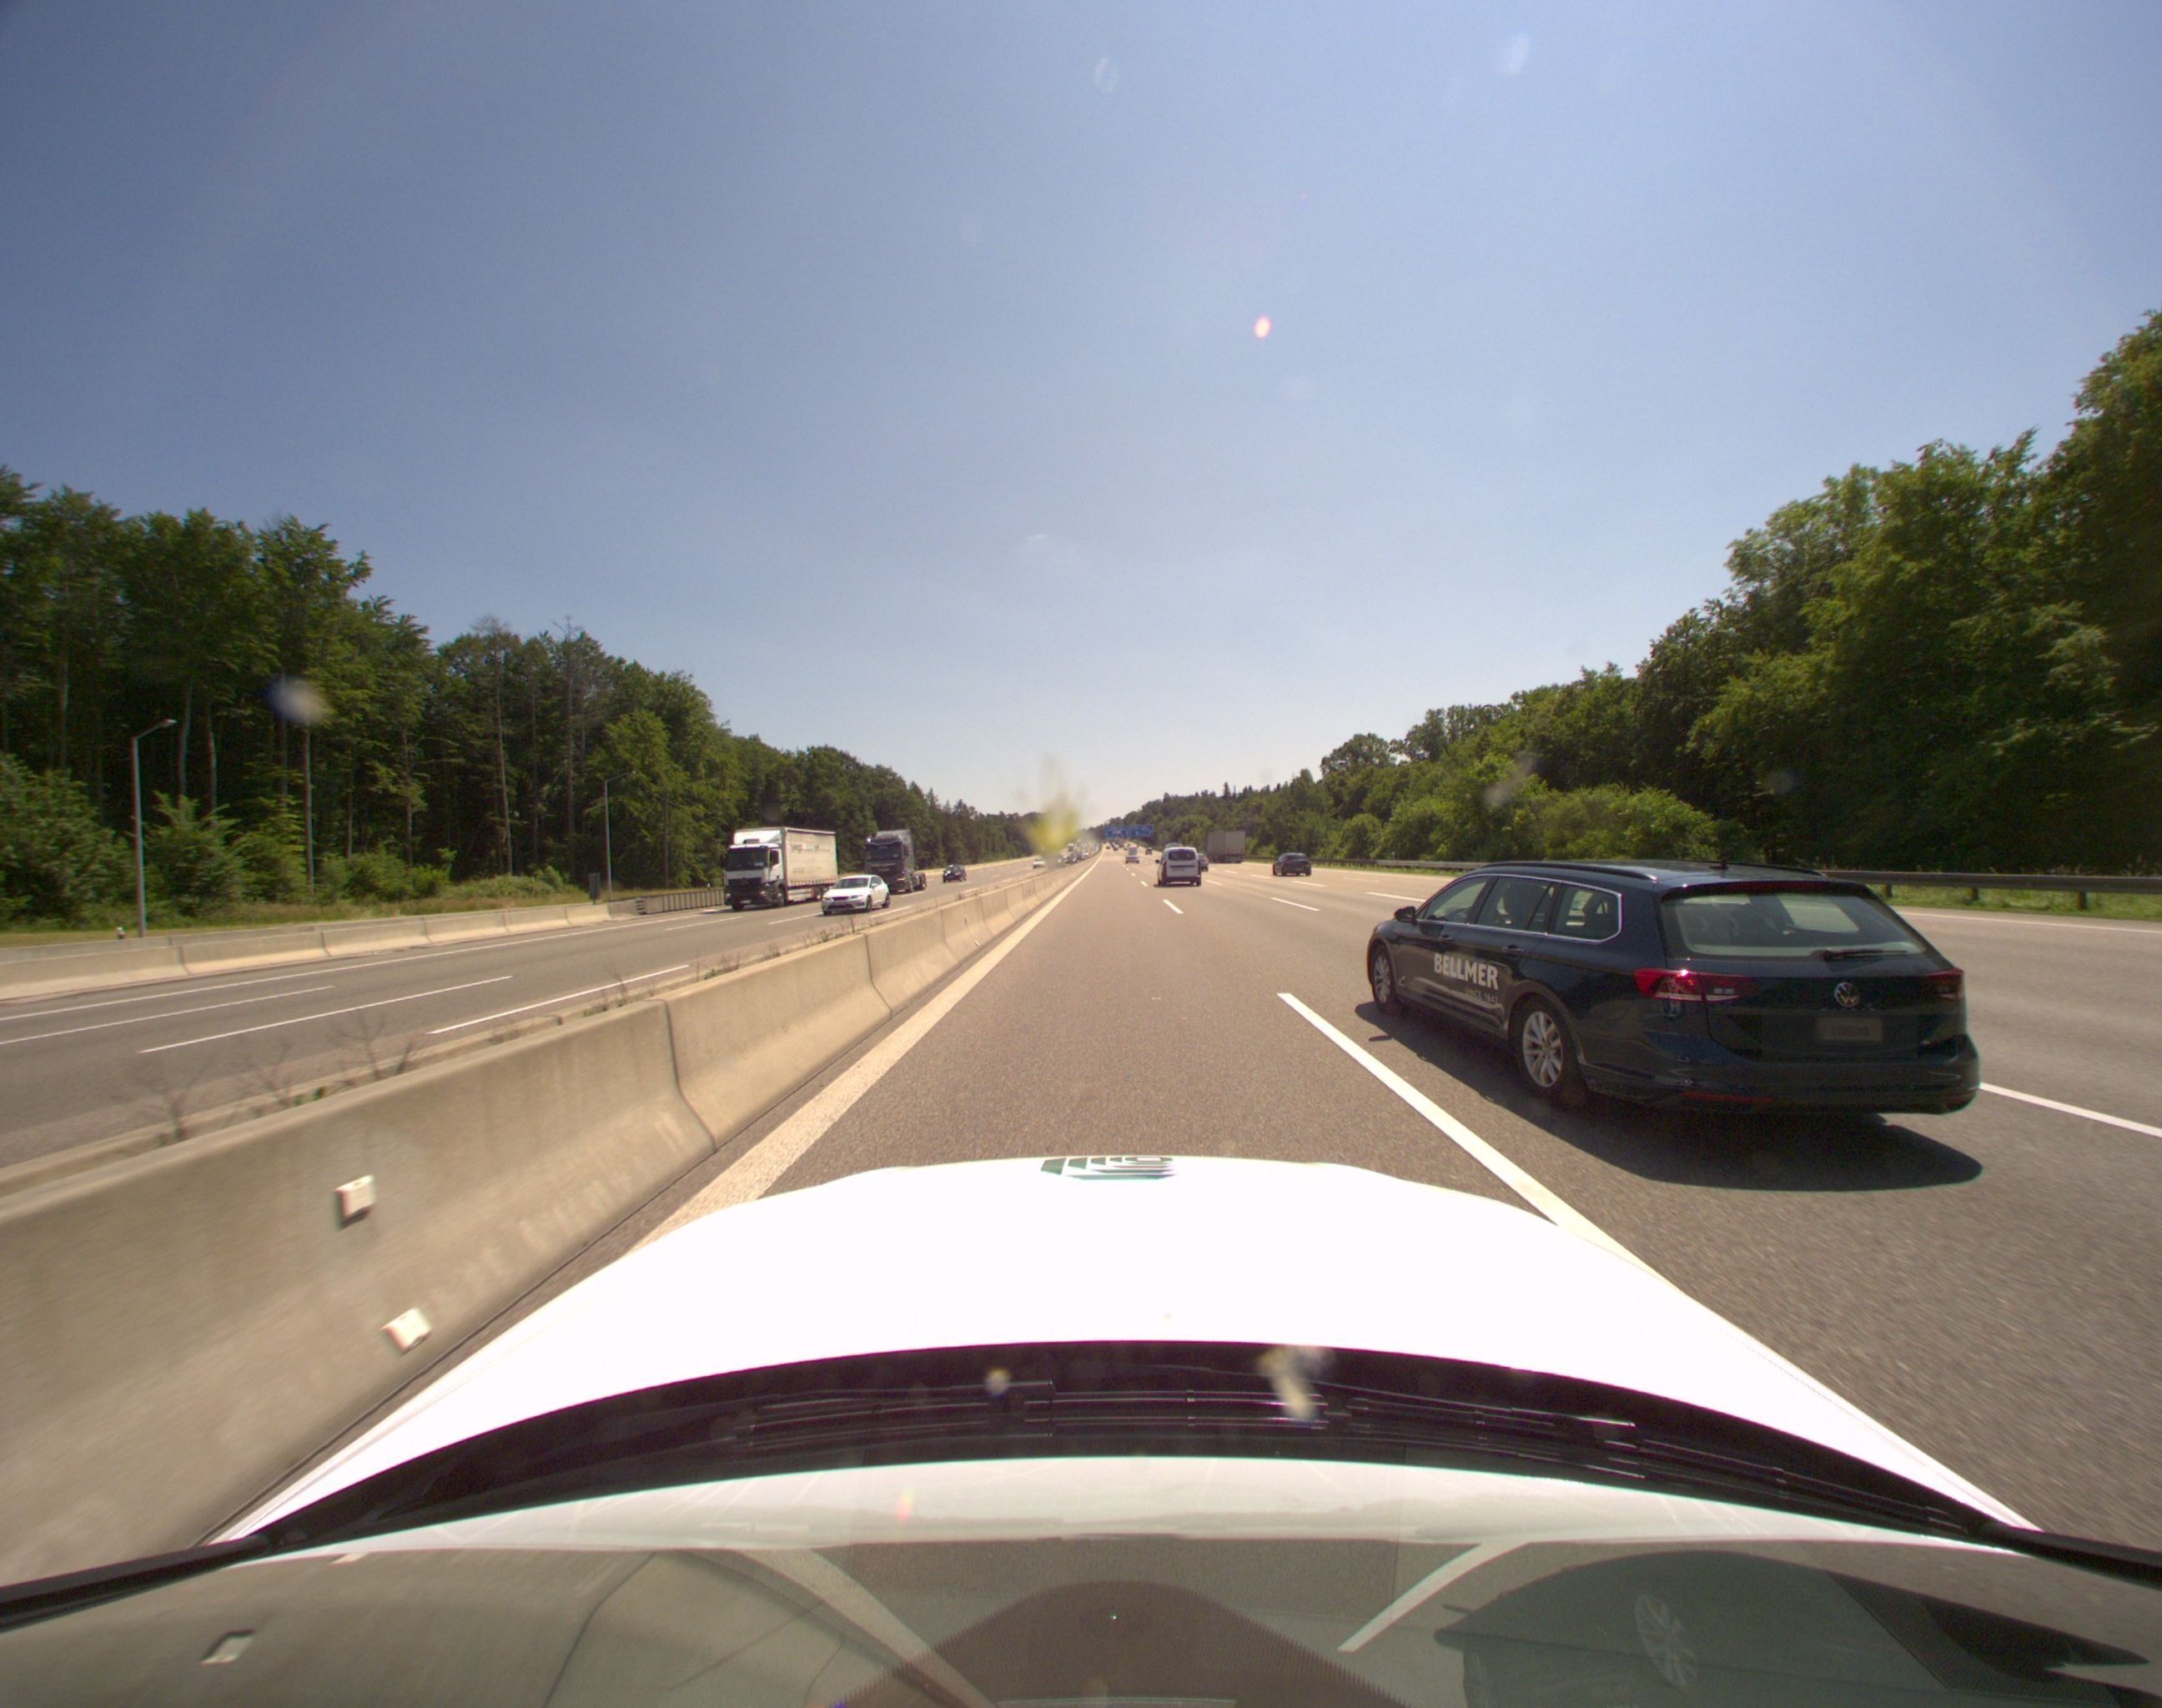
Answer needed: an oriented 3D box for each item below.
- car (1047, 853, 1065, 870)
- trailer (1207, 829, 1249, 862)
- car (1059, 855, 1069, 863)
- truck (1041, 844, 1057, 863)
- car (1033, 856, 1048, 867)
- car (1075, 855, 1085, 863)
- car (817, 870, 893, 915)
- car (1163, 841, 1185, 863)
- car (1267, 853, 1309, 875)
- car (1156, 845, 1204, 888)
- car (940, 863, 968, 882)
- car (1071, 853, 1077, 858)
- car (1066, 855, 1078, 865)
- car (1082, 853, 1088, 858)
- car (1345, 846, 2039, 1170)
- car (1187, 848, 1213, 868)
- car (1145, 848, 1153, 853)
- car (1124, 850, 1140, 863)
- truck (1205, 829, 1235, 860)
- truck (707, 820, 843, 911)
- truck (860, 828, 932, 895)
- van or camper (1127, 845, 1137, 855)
[{"bbox_3d":[-3.179,0.952,104.069,1.891,1.953,5.659,-3,0,2],"label":"car"},{"bbox_3d":[18.806,-1.109,105.131,3.275,3.930,13.895,-1,1,1],"label":"trailer"},{"bbox_3d":[-3.753,1.182,183.734,1.906,1.661,4.691,-3,0,2],"label":"car"},{"bbox_3d":[-7.273,-0.165,186.337,2.847,4.012,9.472,-3,0,2],"label":"truck"},{"bbox_3d":[-6.079,1.107,121.898,1.754,1.464,4.841,-3,0,2],"label":"car"},{"bbox_3d":[-0.257,1.115,176.479,1.906,1.464,4.365,-3,-1,2],"label":"car"},{"bbox_3d":[-8.862,1.468,32.343,1.717,1.506,4.460,-3,0,0],"label":"car"},{"bbox_3d":[11.329,-0.288,99.485,2.135,2.652,5.713,-2,1,2],"label":"car"},{"bbox_3d":[12.729,0.612,50.306,1.664,1.273,4.292,0,0,2],"label":"car"},{"bbox_3d":[4.663,0.562,38.931,1.852,1.825,4.614,-3,0,2],"label":"car"},{"bbox_3d":[-11.309,1.638,72.767,1.747,1.486,3.815,-4,0,1],"label":"car"},{"bbox_3d":[-2.040,0.417,232.135,1.696,1.427,4.614,-3,0,1],"label":"car"},{"bbox_3d":[-1.522,1.043,139.241,1.906,1.464,4.589,-3,-1,2],"label":"car"},{"bbox_3d":[1.127,0.474,237.015,1.818,1.394,4.464,-3,0,0],"label":"car"},{"bbox_3d":[3.574,0.697,6.191,1.722,1.447,4.964,-1,0,3],"label":"car"},{"bbox_3d":[9.480,0.294,65.119,1.498,1.500,3.650,-3,0,1],"label":"car"},{"bbox_3d":[18.713,-0.871,223.509,1.829,1.338,3.645,-3,0,2],"label":"car"},{"bbox_3d":[7.112,0.333,113.840,1.836,1.629,4.554,-3,0,1],"label":"car"},{"bbox_3d":[19.001,-1.300,111.720,3.242,4.106,5.990,-1,1,2],"label":"truck"},{"bbox_3d":[-16.141,0.568,44.126,2.824,4.197,10.600,-3,0,2],"label":"truck"},{"bbox_3d":[-11.694,0.442,52.181,2.568,3.841,7.020,-3,0,2],"label":"truck"},{"bbox_3d":[14.661,-1.154,235.519,2.635,2.538,6.505,-3,0,2],"label":"van or camper"}]
